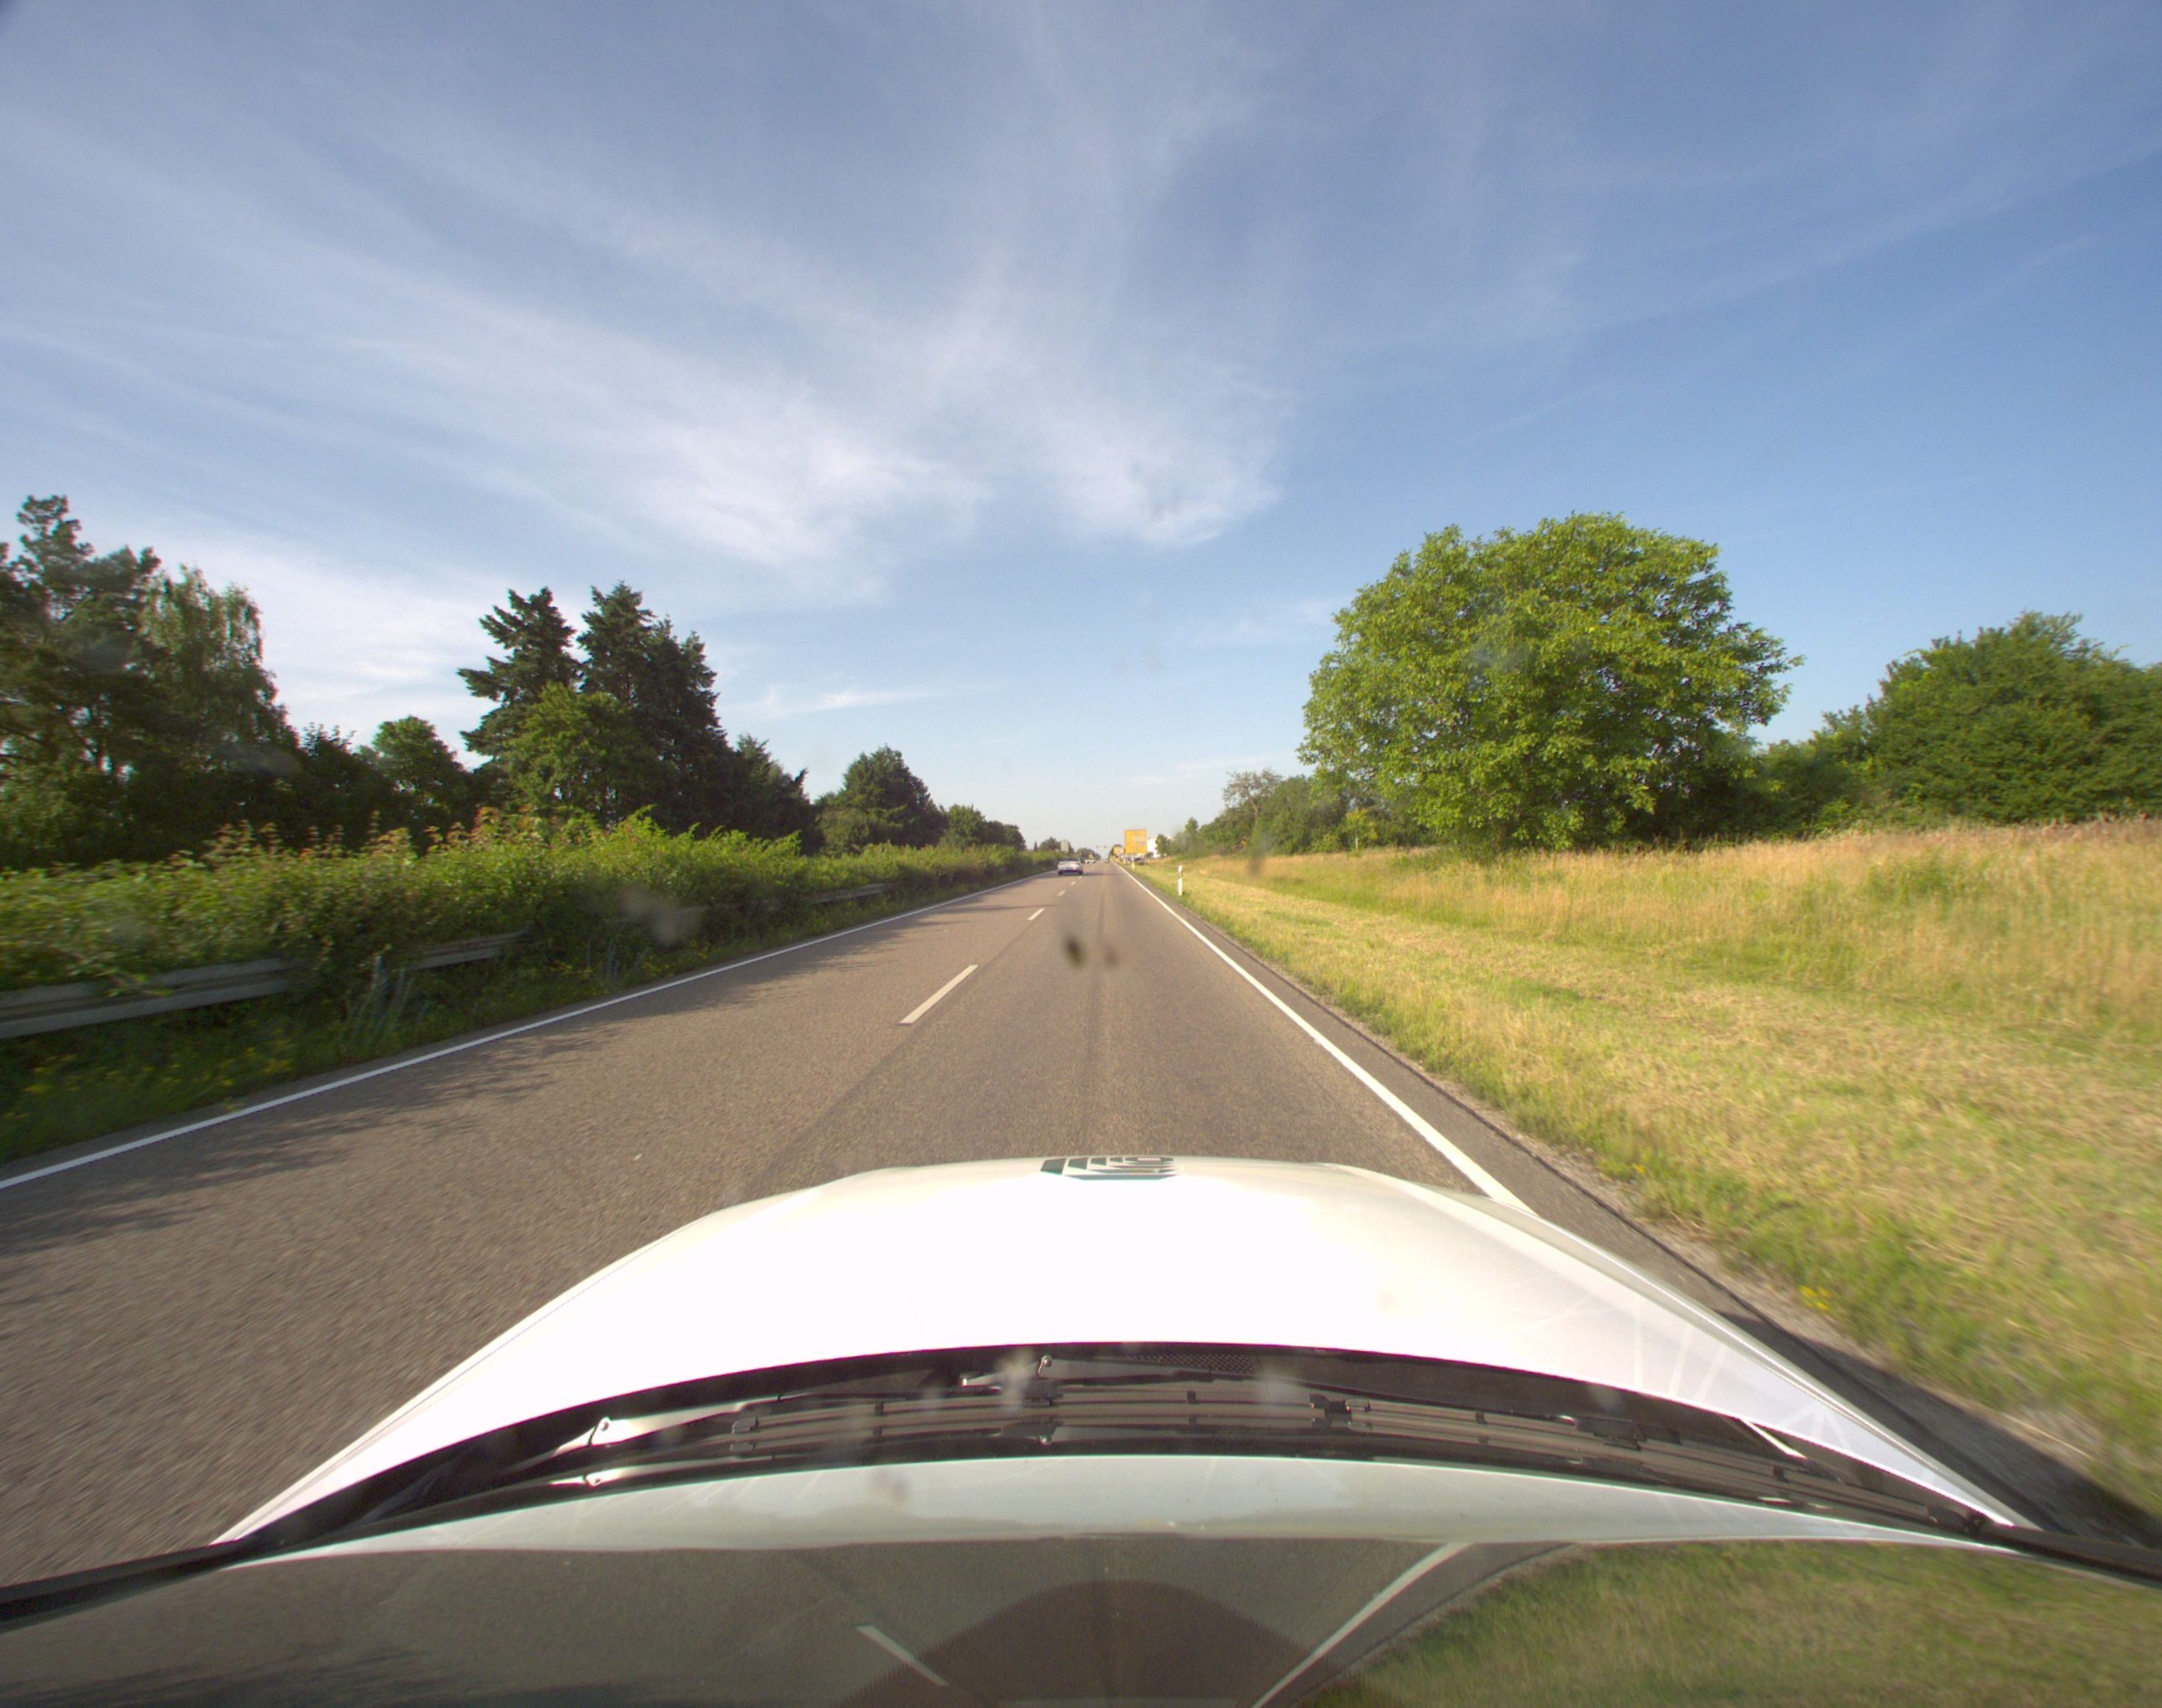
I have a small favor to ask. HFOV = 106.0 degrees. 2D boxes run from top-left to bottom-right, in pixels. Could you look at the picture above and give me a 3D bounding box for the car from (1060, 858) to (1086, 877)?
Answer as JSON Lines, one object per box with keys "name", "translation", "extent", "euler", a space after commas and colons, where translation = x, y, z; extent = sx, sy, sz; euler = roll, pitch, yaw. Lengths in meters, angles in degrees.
{"name": "car", "translation": [-0.593, 1.072, 64.144], "extent": [1.903, 1.422, 4.001], "euler": [-1, 0, 1]}
